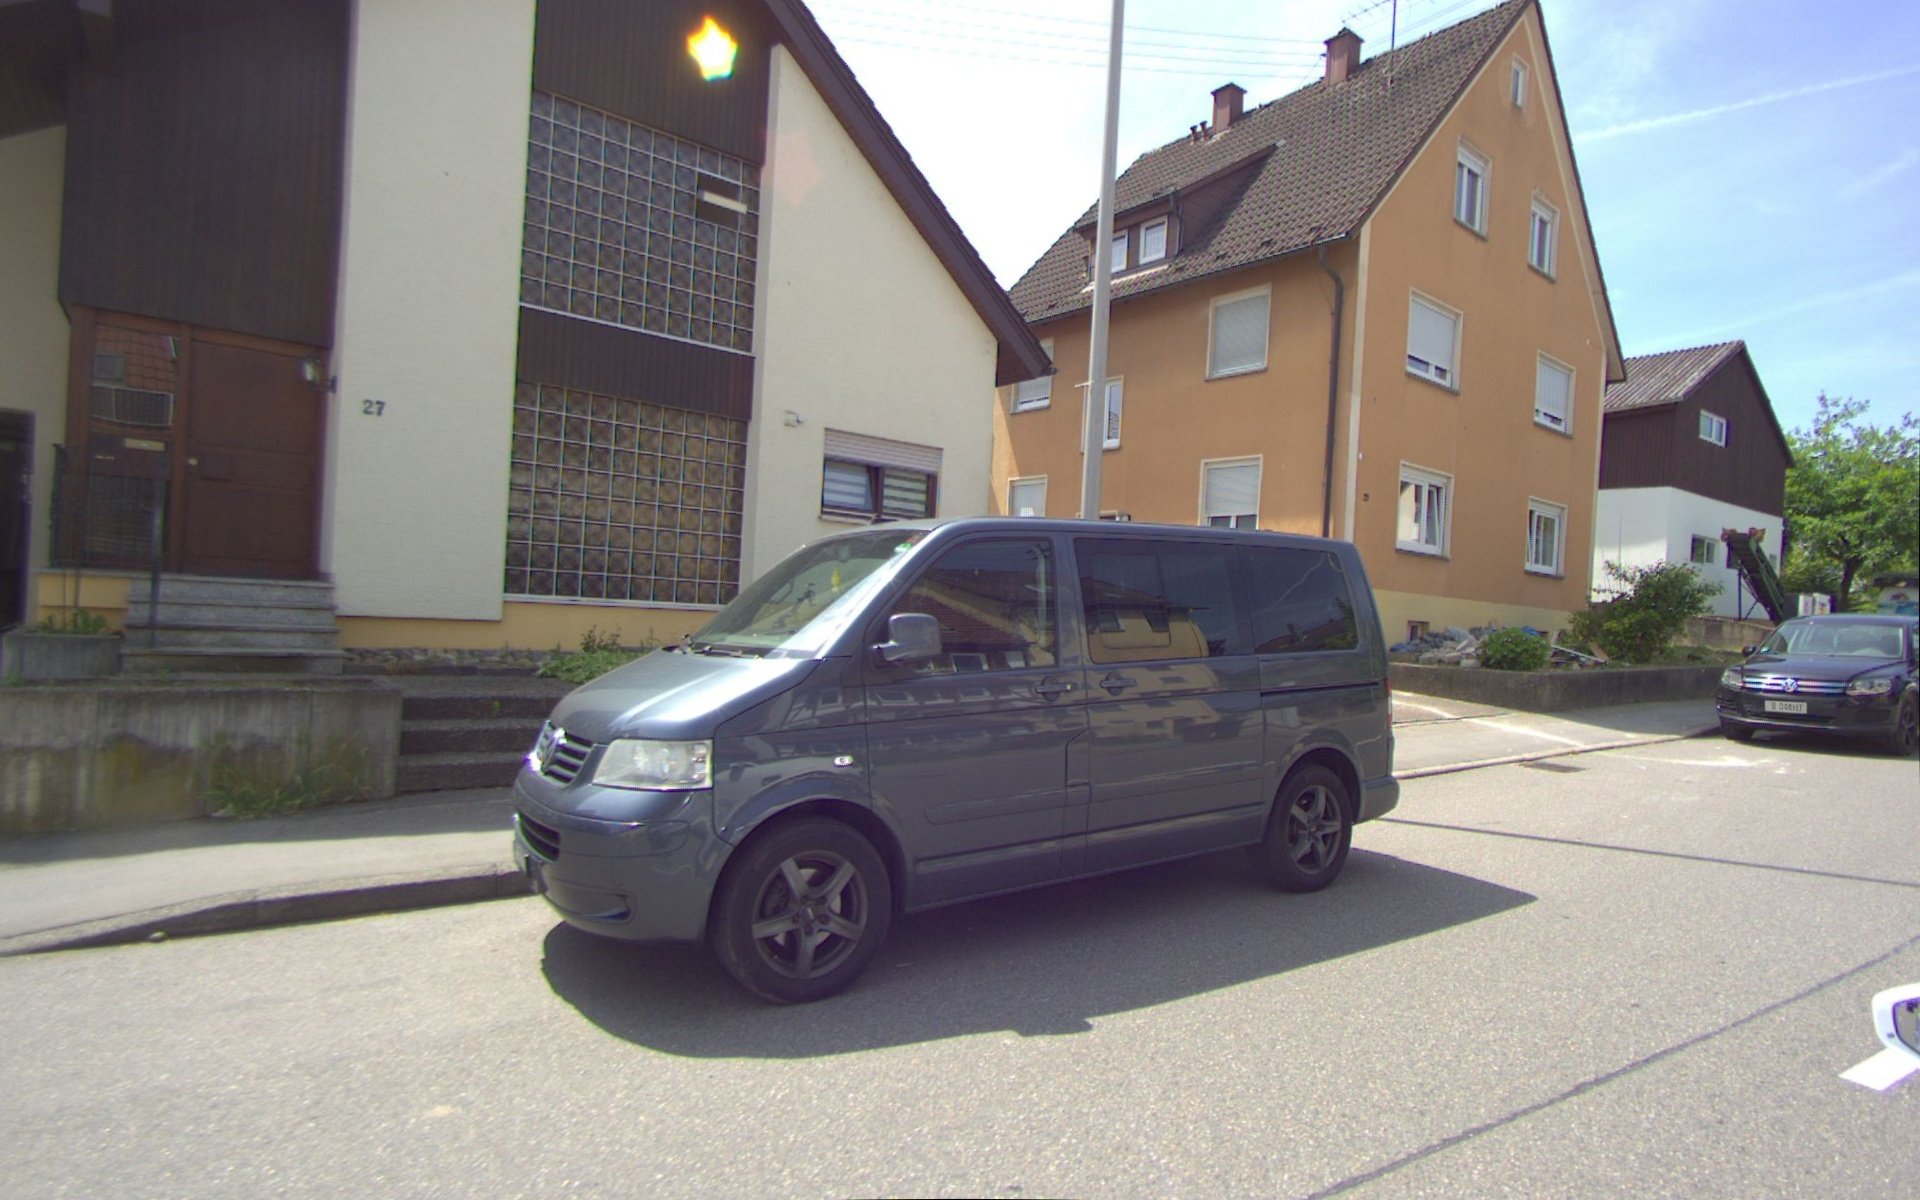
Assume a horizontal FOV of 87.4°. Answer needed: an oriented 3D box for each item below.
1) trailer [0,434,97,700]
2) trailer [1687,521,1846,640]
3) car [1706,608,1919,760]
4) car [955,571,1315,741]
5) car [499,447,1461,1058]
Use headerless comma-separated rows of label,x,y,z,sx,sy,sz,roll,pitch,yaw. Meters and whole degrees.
trailer,-9.366,-0.493,8.968,1.979,2.041,3.808,2,7,-33
trailer,21.706,-0.421,26.934,6.115,2.886,1.700,2,1,-36
car,11.486,0.969,12.950,4.245,1.657,1.757,1,-1,-35
car,1.917,0.525,12.239,1.804,1.424,4.198,1,4,-36
car,0.369,0.561,5.373,4.932,1.963,1.880,2,-1,-33
